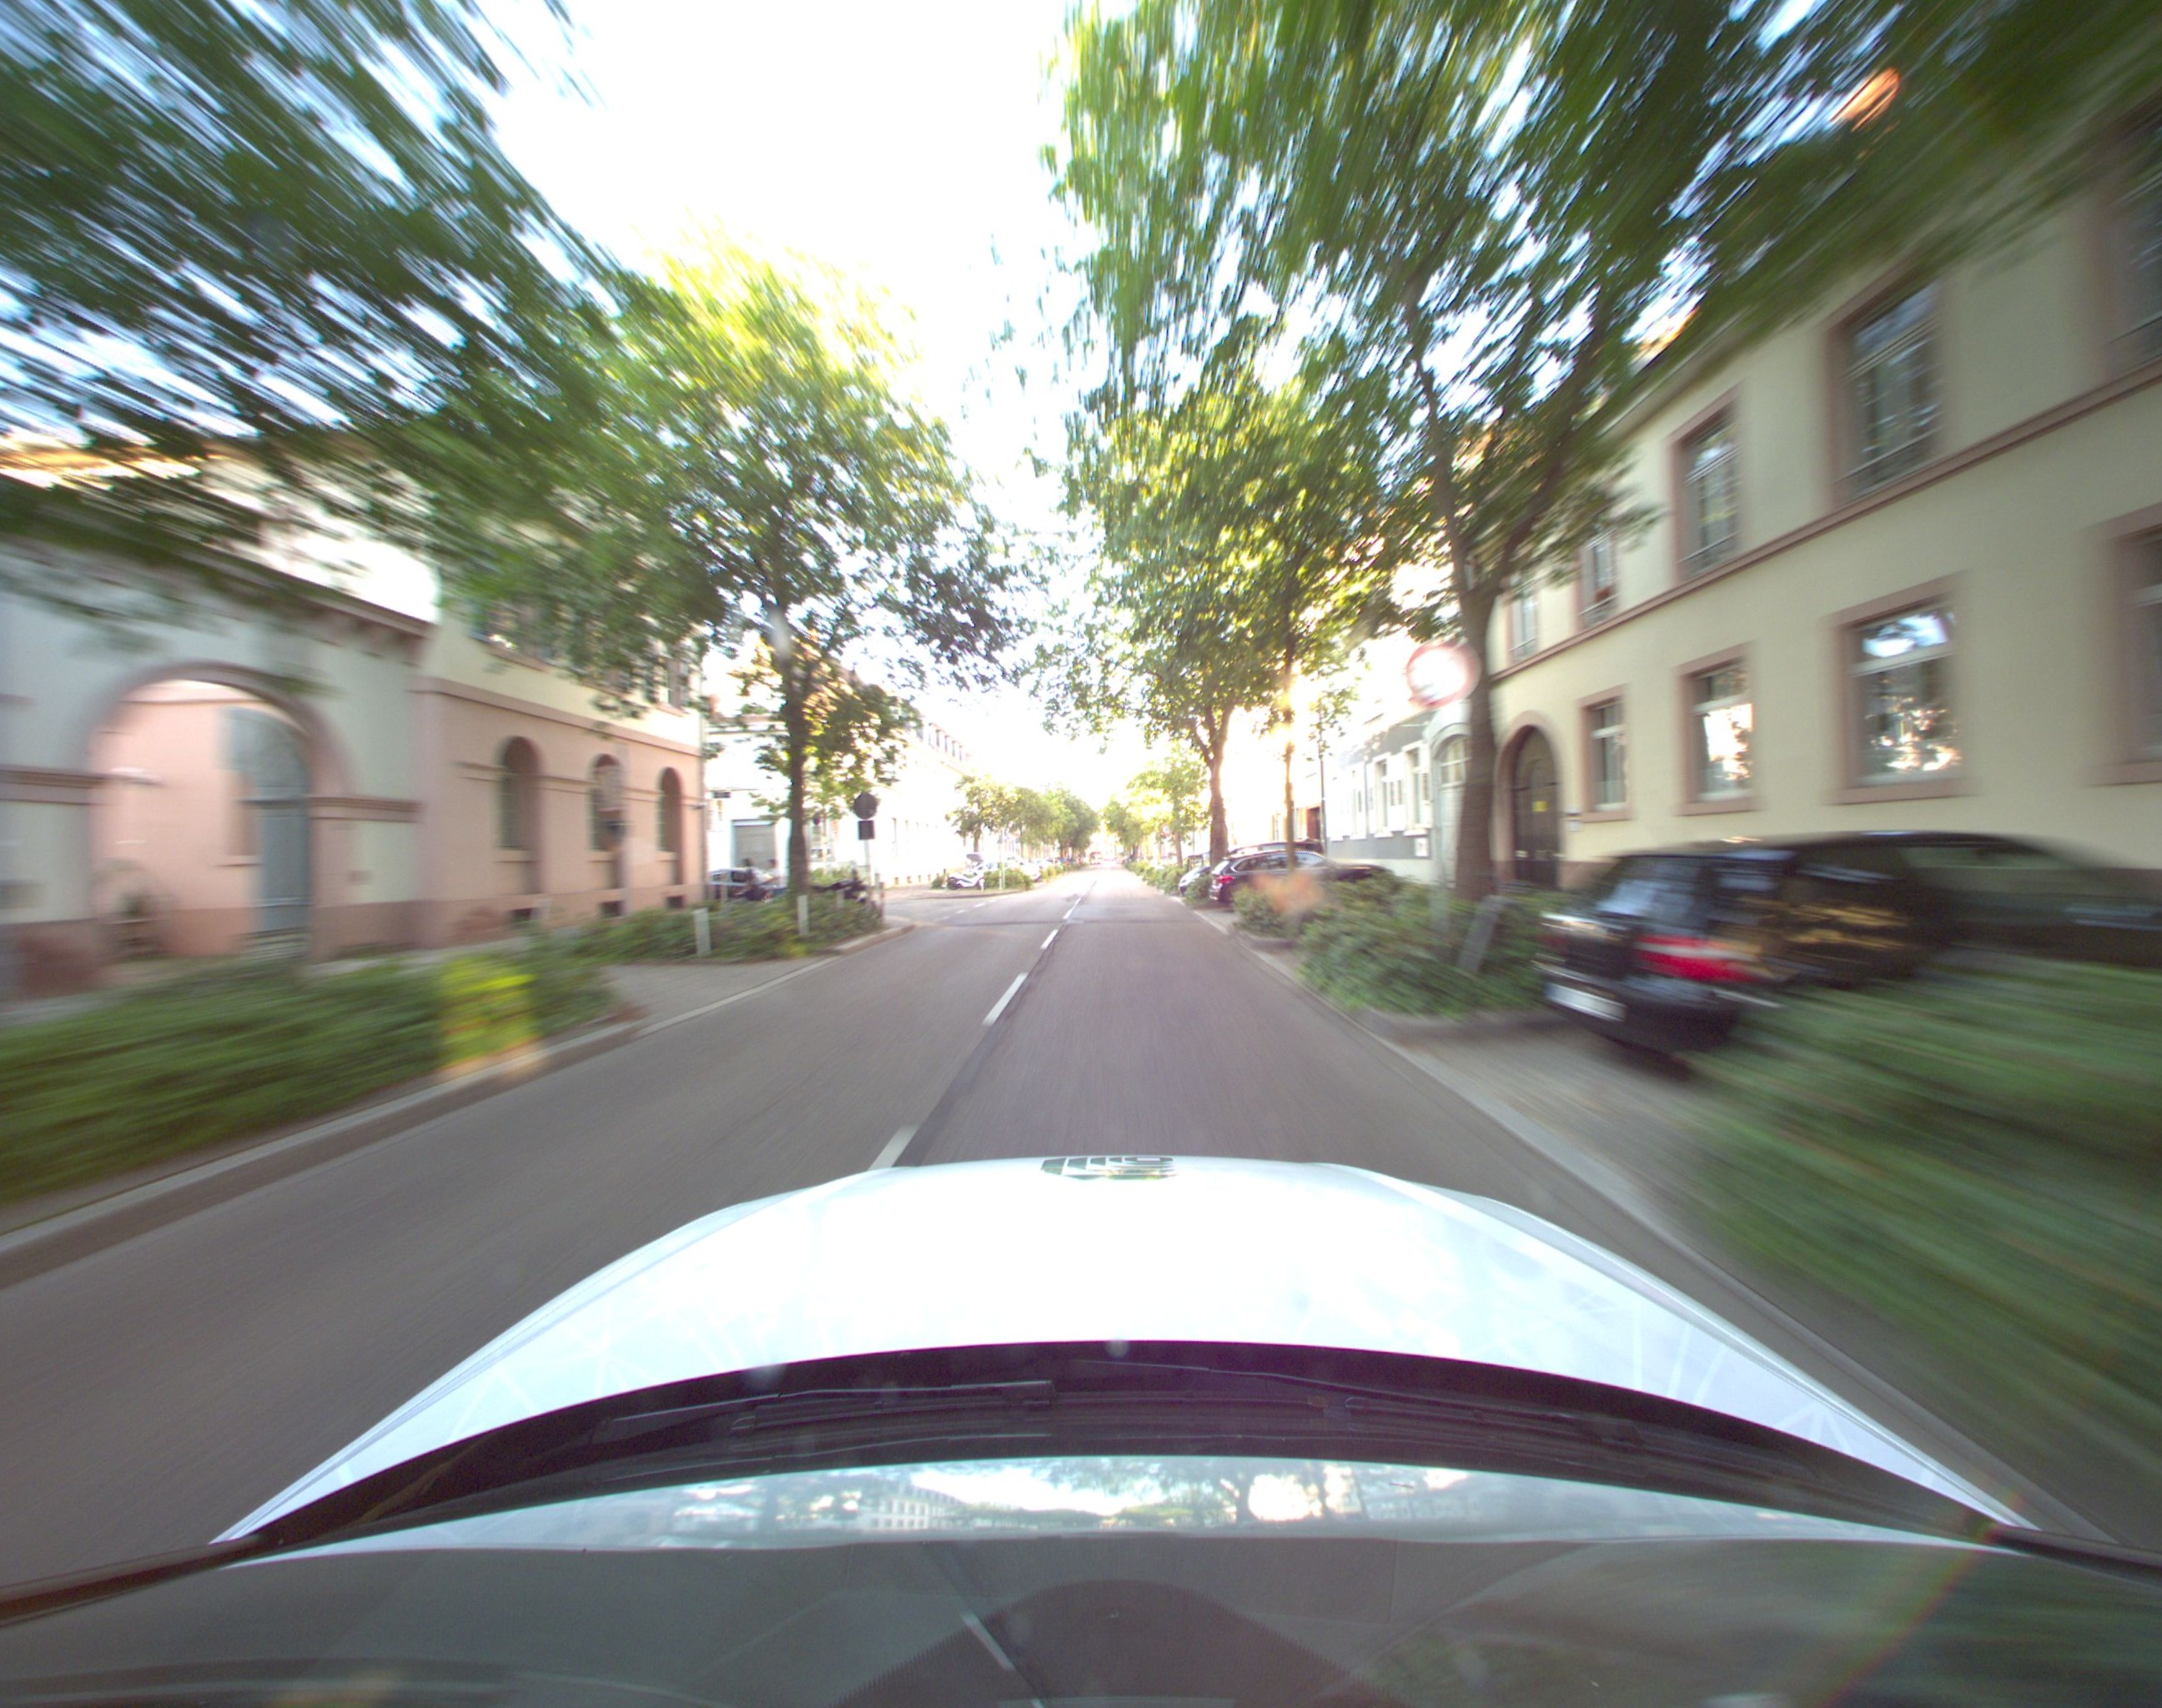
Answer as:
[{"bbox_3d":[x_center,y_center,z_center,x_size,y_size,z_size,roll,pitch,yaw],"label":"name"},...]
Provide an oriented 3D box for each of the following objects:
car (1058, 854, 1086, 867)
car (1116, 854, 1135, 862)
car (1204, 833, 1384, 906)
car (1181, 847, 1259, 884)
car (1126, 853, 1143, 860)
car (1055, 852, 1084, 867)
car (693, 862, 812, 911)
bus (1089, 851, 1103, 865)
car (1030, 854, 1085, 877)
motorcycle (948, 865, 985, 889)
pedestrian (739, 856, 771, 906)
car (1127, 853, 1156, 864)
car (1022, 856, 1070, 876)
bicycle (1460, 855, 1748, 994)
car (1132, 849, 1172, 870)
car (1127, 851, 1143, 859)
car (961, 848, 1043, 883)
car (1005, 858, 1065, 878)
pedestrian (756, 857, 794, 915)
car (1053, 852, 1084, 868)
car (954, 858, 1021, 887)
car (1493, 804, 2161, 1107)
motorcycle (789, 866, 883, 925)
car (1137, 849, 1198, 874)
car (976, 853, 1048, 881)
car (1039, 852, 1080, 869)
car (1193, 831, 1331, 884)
[{"bbox_3d":[-1.302,0.995,121.873,3.969,1.787,1.798,-2,0,4],"label":"car"},{"bbox_3d":[10.119,0.854,185.005,3.963,1.838,2.005,-1,0,9],"label":"car"},{"bbox_3d":[5.230,0.370,20.382,4.001,1.623,1.781,-2,0,0],"label":"car"},{"bbox_3d":[6.758,0.552,39.793,3.599,1.626,1.587,-2,0,4],"label":"car"},{"bbox_3d":[13.735,0.596,208.233,3.962,1.772,2.006,-2,0,10],"label":"car"},{"bbox_3d":[-1.700,0.830,119.699,3.969,1.817,1.906,-2,-6,4],"label":"car"},{"bbox_3d":[-11.145,1.092,27.735,3.378,1.504,1.462,-2,-1,3],"label":"car"},{"bbox_3d":[3.455,0.881,192.363,3.018,3.190,9.400,-1,0,0],"label":"bus"},{"bbox_3d":[-2.205,1.118,78.841,5.042,2.083,2.265,-2,0,3],"label":"car"},{"bbox_3d":[-5.452,1.094,38.881,1.630,1.068,0.656,-1,0,1],"label":"motorcycle"},{"bbox_3d":[-9.243,0.768,23.106,0.652,1.395,0.607,0,-1,2],"label":"pedestrian"},{"bbox_3d":[8.787,0.674,118.290,3.974,1.442,1.697,-2,0,0],"label":"car"},{"bbox_3d":[-3.839,1.318,89.789,5.043,2.083,2.265,-2,0,3],"label":"car"},{"bbox_3d":[4.302,0.557,6.769,2.009,1.036,0.585,-2,0,-1],"label":"bicycle"},{"bbox_3d":[7.204,0.533,82.249,3.968,2.014,2.003,-1,0,5],"label":"car"},{"bbox_3d":[14.017,0.264,211.181,3.962,1.772,2.006,-2,0,10],"label":"car"},{"bbox_3d":[-5.126,0.755,53.475,5.045,2.083,2.264,-2,0,1],"label":"car"},{"bbox_3d":[-4.110,1.277,73.527,5.040,1.617,2.266,-2,0,5],"label":"car"},{"bbox_3d":[-9.055,0.942,24.104,0.714,1.664,0.839,-2,0,4],"label":"pedestrian"},{"bbox_3d":[-1.680,0.748,108.801,3.970,2.013,2.002,-2,0,3],"label":"car"},{"bbox_3d":[-5.489,1.079,48.084,3.716,1.508,1.872,-2,0,-2],"label":"car"},{"bbox_3d":[5.026,0.502,5.069,4.000,1.480,1.781,-2,0,0],"label":"car"},{"bbox_3d":[-5.483,0.923,18.284,1.912,1.259,0.591,-1,0,1],"label":"motorcycle"},{"bbox_3d":[6.673,0.599,63.348,4.574,1.761,2.223,-2,0,2],"label":"car"},{"bbox_3d":[-5.161,0.943,61.285,5.042,1.823,2.266,-2,2,3],"label":"car"},{"bbox_3d":[-2.728,0.811,105.846,5.043,2.083,2.265,-2,0,3],"label":"car"},{"bbox_3d":[5.727,0.107,26.126,4.001,1.419,1.781,-3,0,0],"label":"car"}]
